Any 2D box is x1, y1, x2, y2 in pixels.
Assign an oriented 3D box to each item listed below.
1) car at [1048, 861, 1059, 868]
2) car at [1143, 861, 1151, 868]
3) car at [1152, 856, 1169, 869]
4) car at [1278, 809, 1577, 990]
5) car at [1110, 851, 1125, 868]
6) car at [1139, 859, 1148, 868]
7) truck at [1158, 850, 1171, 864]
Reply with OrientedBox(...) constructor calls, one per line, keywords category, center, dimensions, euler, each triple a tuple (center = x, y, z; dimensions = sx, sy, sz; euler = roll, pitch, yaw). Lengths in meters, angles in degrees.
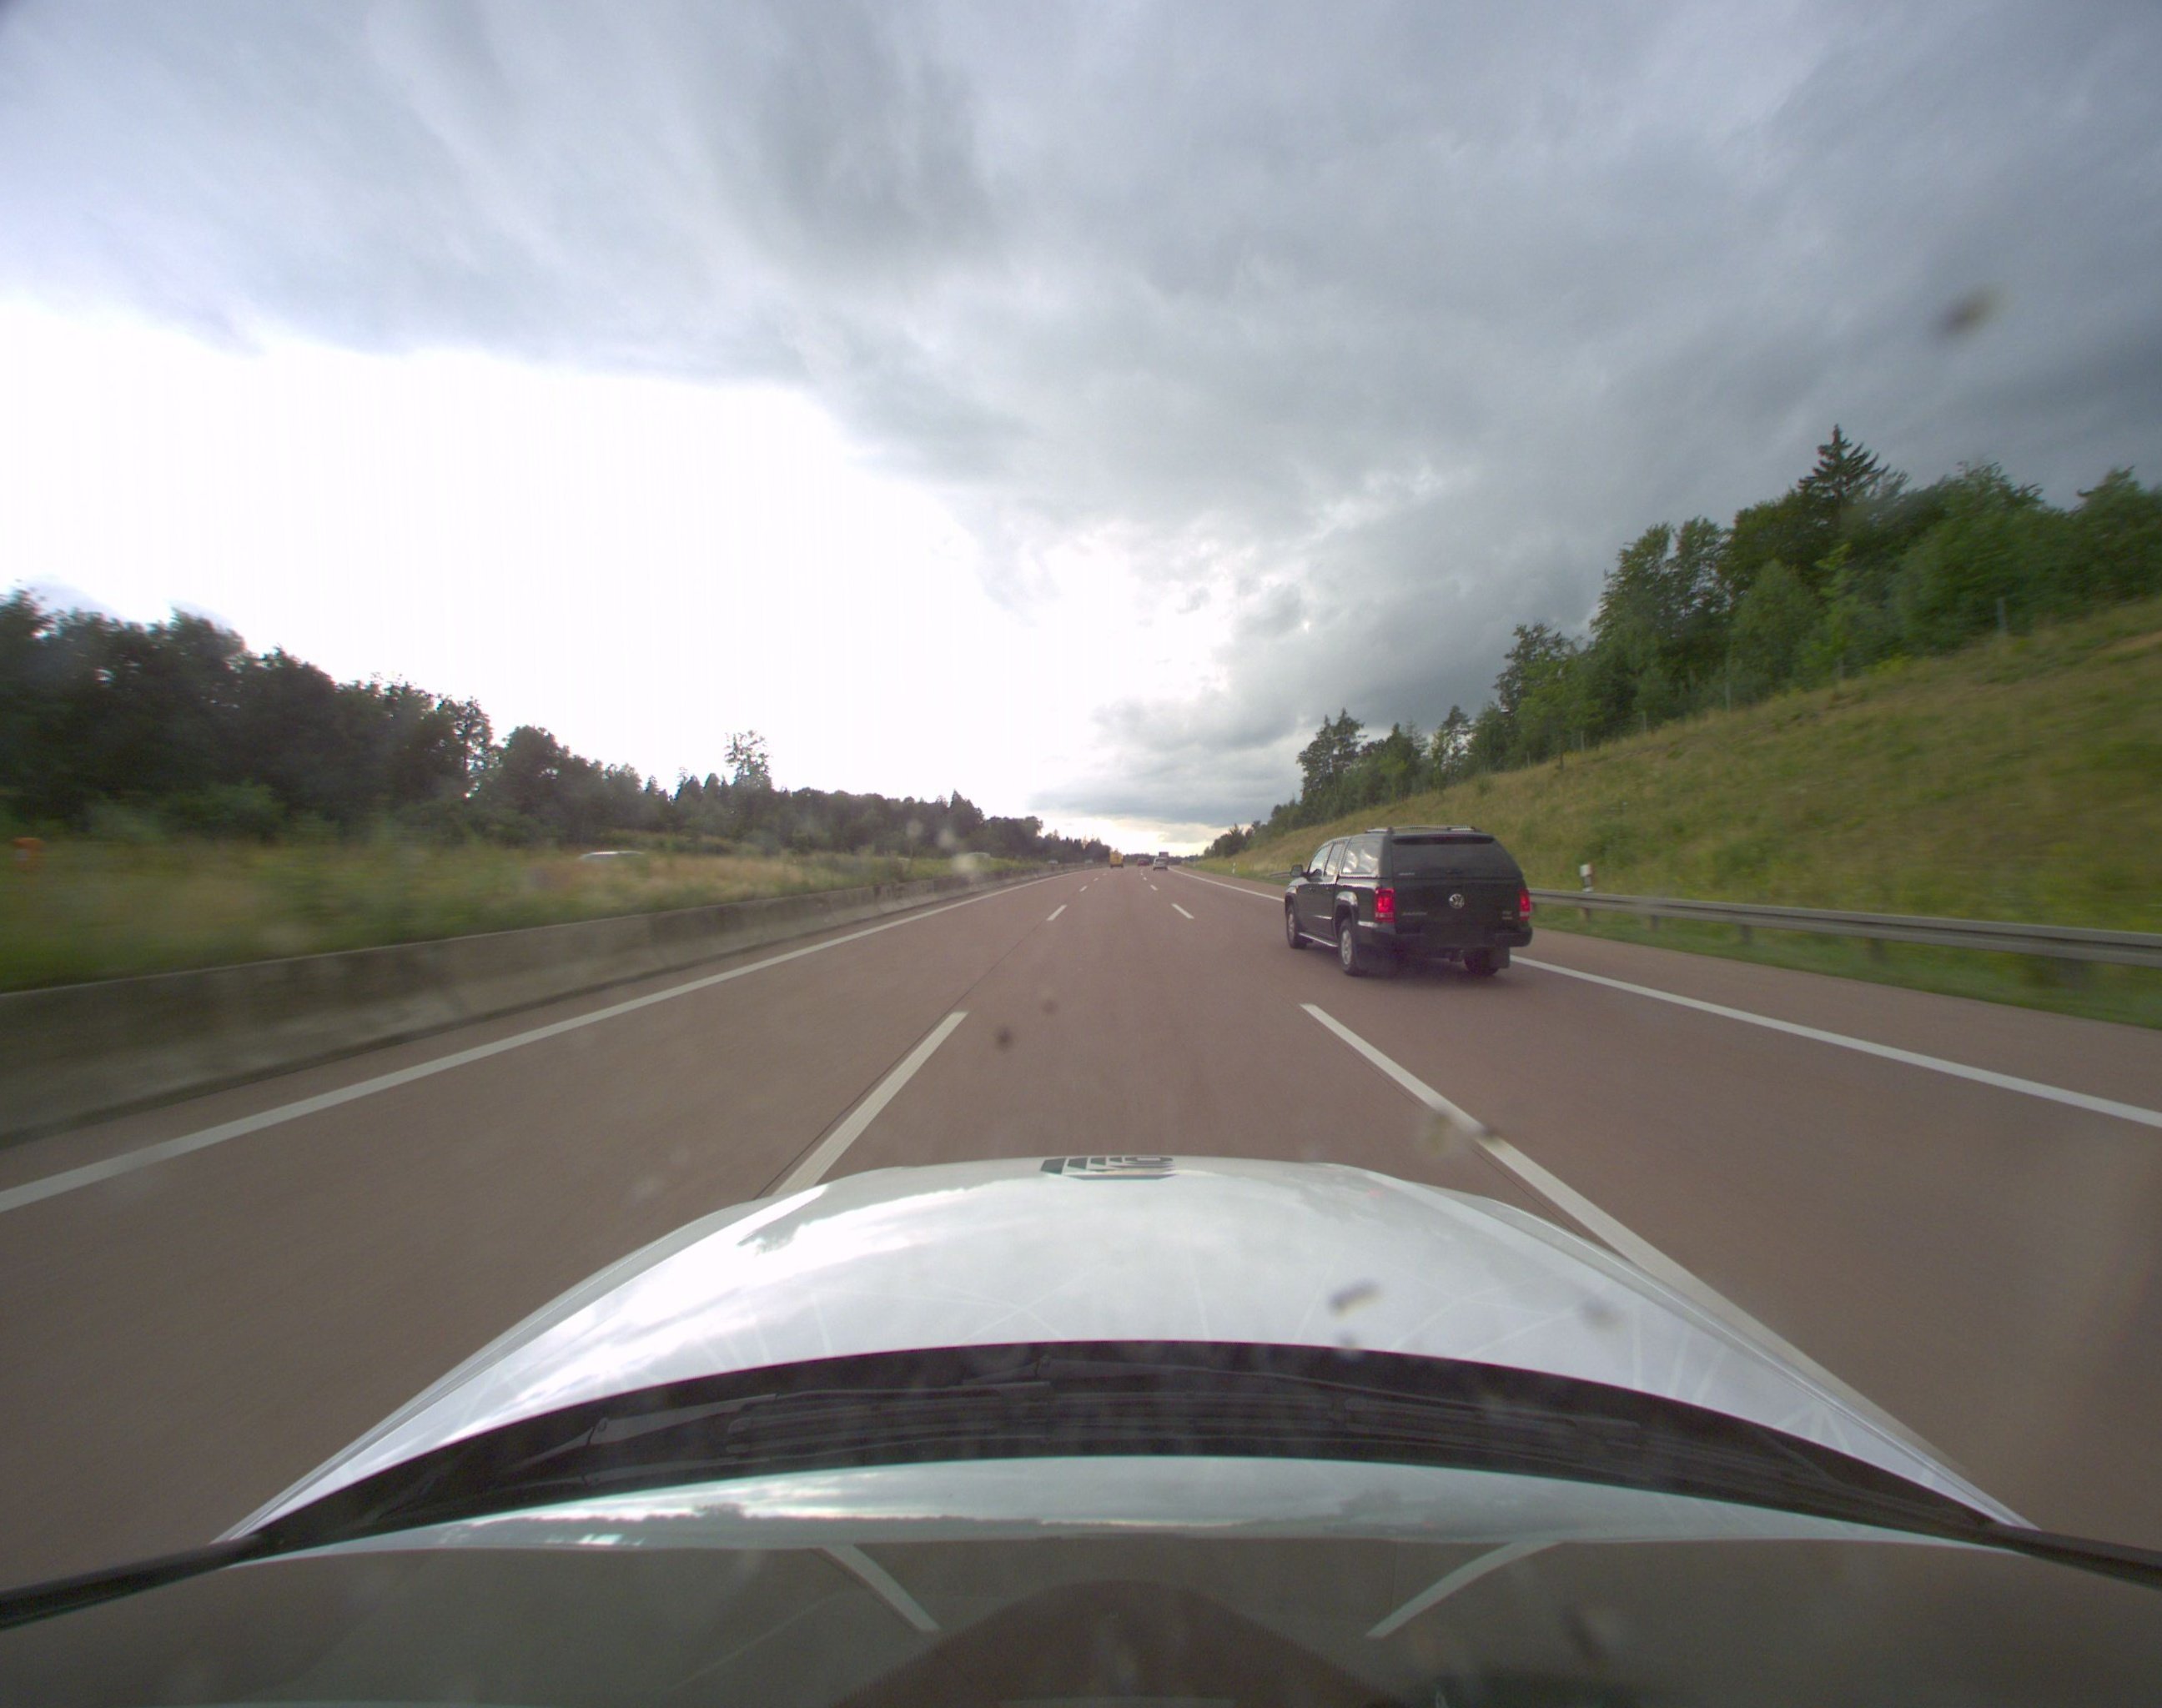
OrientedBox(category="car", center=(-5.560, 2.147, 167.441), dimensions=(1.724, 1.525, 4.417), euler=(0, -2, 5))
OrientedBox(category="car", center=(17.065, 2.799, 210.969), dimensions=(1.878, 1.764, 5.005), euler=(-1, -1, 6))
OrientedBox(category="car", center=(9.879, 1.064, 101.149), dimensions=(1.967, 1.648, 4.628), euler=(0, -1, 7))
OrientedBox(category="car", center=(4.393, 0.529, 11.553), dimensions=(2.036, 1.897, 5.580), euler=(-1, -1, 2))
OrientedBox(category="car", center=(6.225, 0.921, 138.184), dimensions=(2.448, 2.706, 5.619), euler=(-1, -1, 4))
OrientedBox(category="car", center=(13.689, 2.090, 177.913), dimensions=(1.878, 1.764, 4.789), euler=(-1, -1, 6))
OrientedBox(category="truck", center=(25.203, 1.064, 245.226), dimensions=(3.661, 3.913, 12.838), euler=(0, -2, 7))
